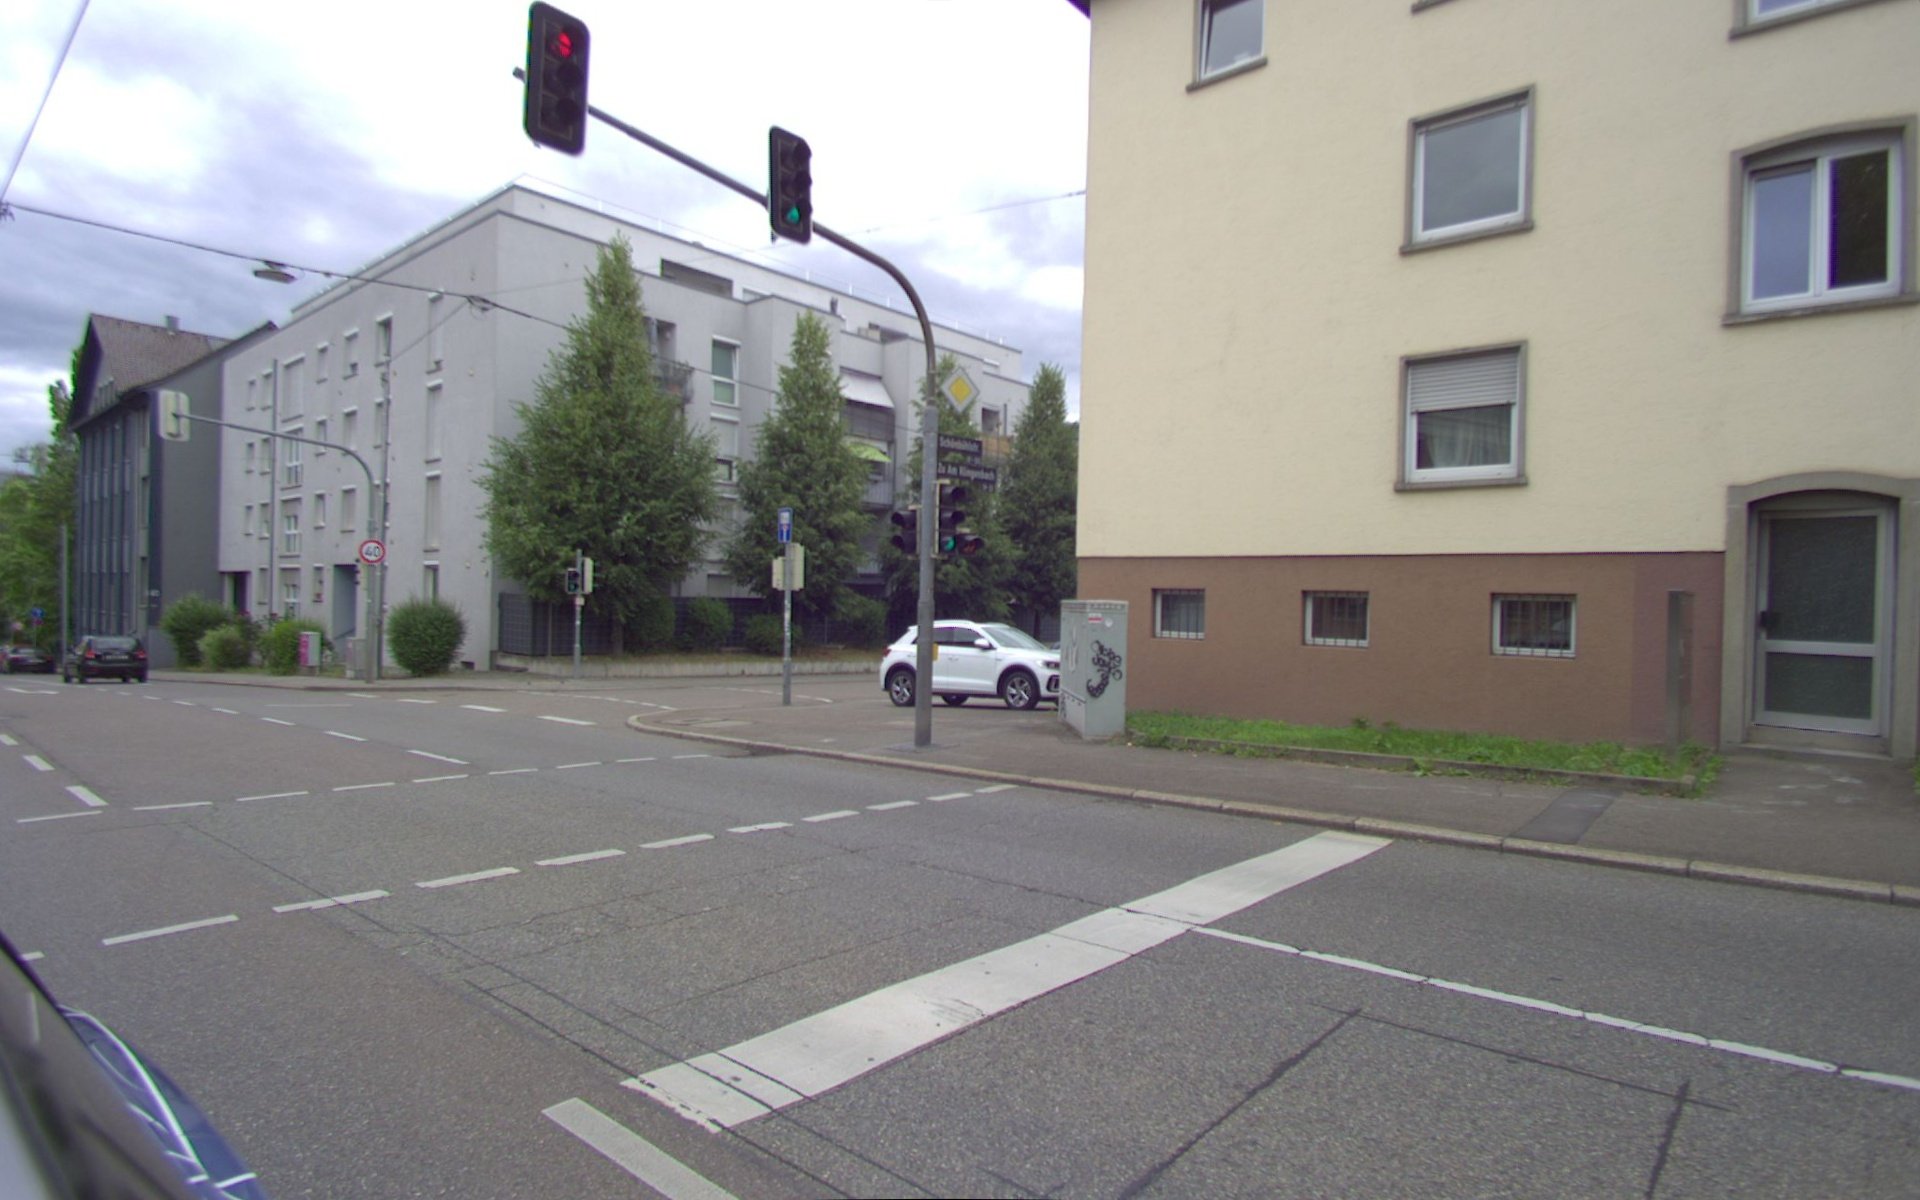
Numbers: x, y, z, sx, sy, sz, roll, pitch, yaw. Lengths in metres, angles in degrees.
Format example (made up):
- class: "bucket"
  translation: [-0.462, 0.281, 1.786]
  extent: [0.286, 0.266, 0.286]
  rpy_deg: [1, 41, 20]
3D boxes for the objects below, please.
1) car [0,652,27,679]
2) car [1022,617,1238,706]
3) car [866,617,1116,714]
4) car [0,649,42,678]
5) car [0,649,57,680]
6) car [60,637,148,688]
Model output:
- class: "car"
  translation: [-53.772, 3.662, 56.734]
  extent: [3.999, 1.420, 1.776]
  rpy_deg: [-2, -3, 42]
- class: "car"
  translation: [3.681, 1.367, 22.291]
  extent: [4.253, 1.772, 1.975]
  rpy_deg: [-3, -5, 37]
- class: "car"
  translation: [0.479, 1.185, 18.205]
  extent: [4.253, 1.549, 1.797]
  rpy_deg: [-3, -5, 37]
- class: "car"
  translation: [-49.686, 3.320, 53.137]
  extent: [3.999, 1.420, 1.776]
  rpy_deg: [-2, -3, 42]
- class: "car"
  translation: [-45.267, 3.083, 49.052]
  extent: [3.999, 1.420, 1.776]
  rpy_deg: [-2, -3, 42]
- class: "car"
  translation: [-26.443, 1.901, 31.216]
  extent: [3.614, 1.475, 1.570]
  rpy_deg: [-2, -3, 42]
